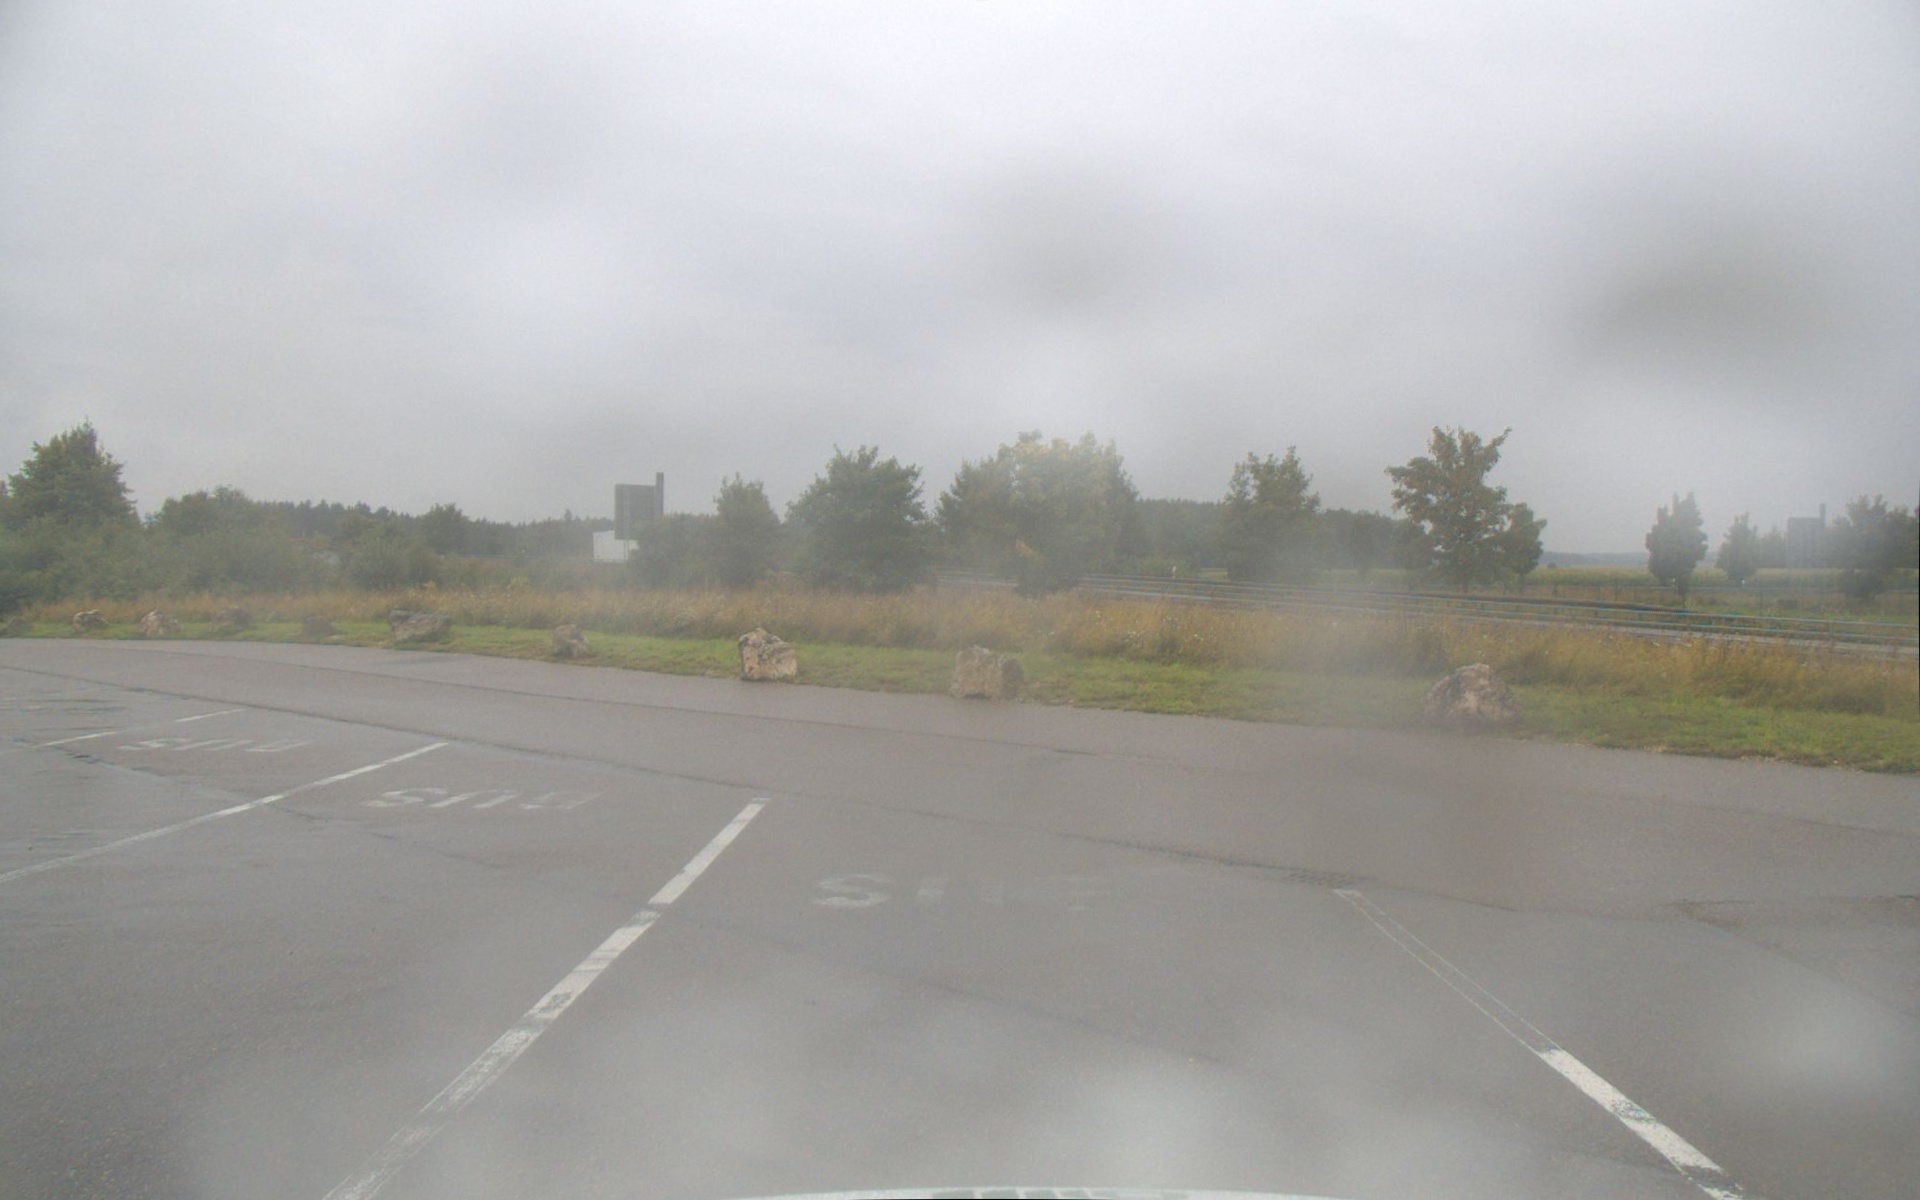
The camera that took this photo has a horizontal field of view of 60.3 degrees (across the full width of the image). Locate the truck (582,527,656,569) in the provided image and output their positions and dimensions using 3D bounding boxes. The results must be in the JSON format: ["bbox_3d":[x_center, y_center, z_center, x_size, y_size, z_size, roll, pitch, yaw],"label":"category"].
[{"bbox_3d":[-28.837,-4.361,139.811,2.722,3.450,7.951,0,1,-40],"label":"truck"}]
